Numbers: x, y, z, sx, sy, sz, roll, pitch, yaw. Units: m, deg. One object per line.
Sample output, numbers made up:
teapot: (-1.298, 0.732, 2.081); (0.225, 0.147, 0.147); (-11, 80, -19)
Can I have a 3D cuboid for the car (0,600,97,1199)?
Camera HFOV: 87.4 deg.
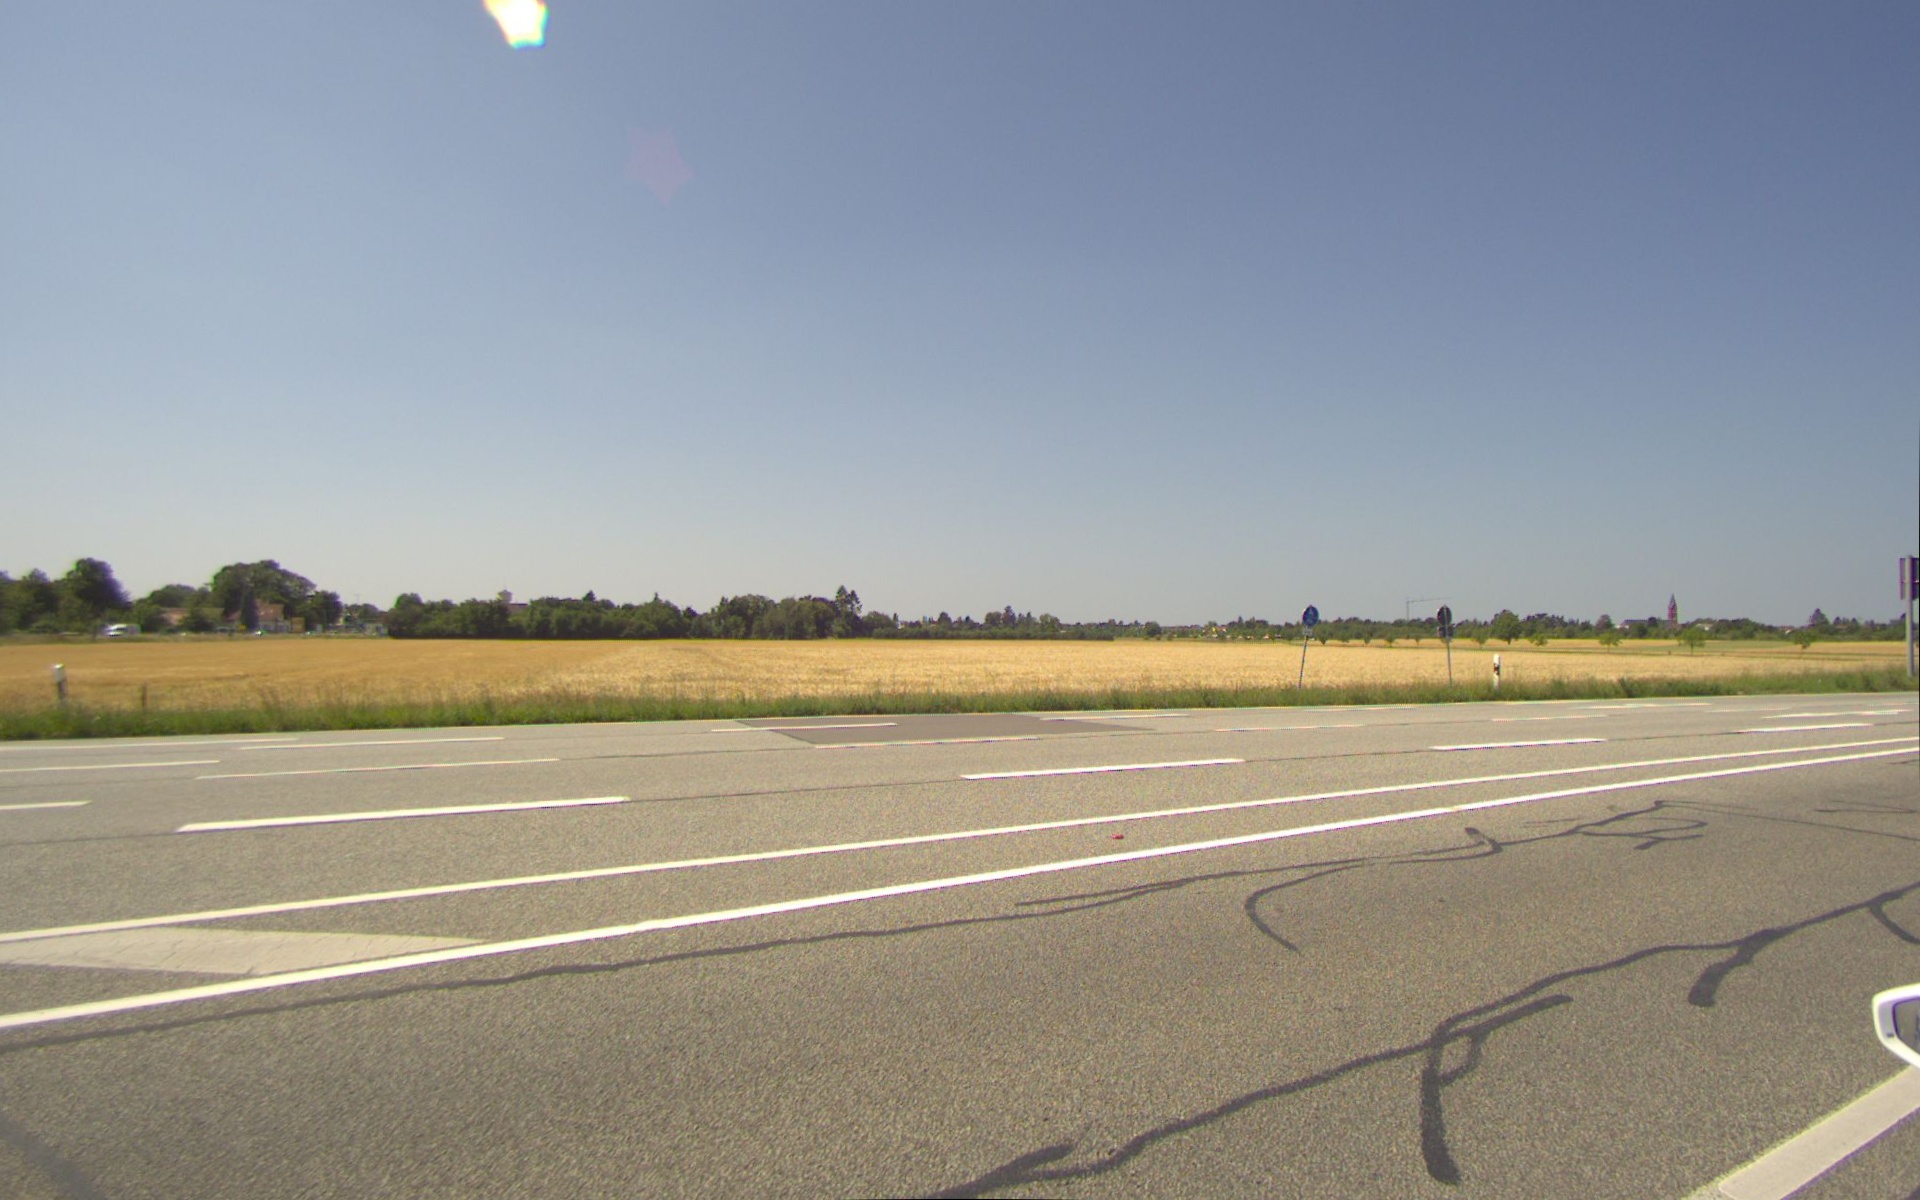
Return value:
car: (-3.952, 0.686, 0.681); (4.821, 1.469, 1.802); (1, -1, -31)
